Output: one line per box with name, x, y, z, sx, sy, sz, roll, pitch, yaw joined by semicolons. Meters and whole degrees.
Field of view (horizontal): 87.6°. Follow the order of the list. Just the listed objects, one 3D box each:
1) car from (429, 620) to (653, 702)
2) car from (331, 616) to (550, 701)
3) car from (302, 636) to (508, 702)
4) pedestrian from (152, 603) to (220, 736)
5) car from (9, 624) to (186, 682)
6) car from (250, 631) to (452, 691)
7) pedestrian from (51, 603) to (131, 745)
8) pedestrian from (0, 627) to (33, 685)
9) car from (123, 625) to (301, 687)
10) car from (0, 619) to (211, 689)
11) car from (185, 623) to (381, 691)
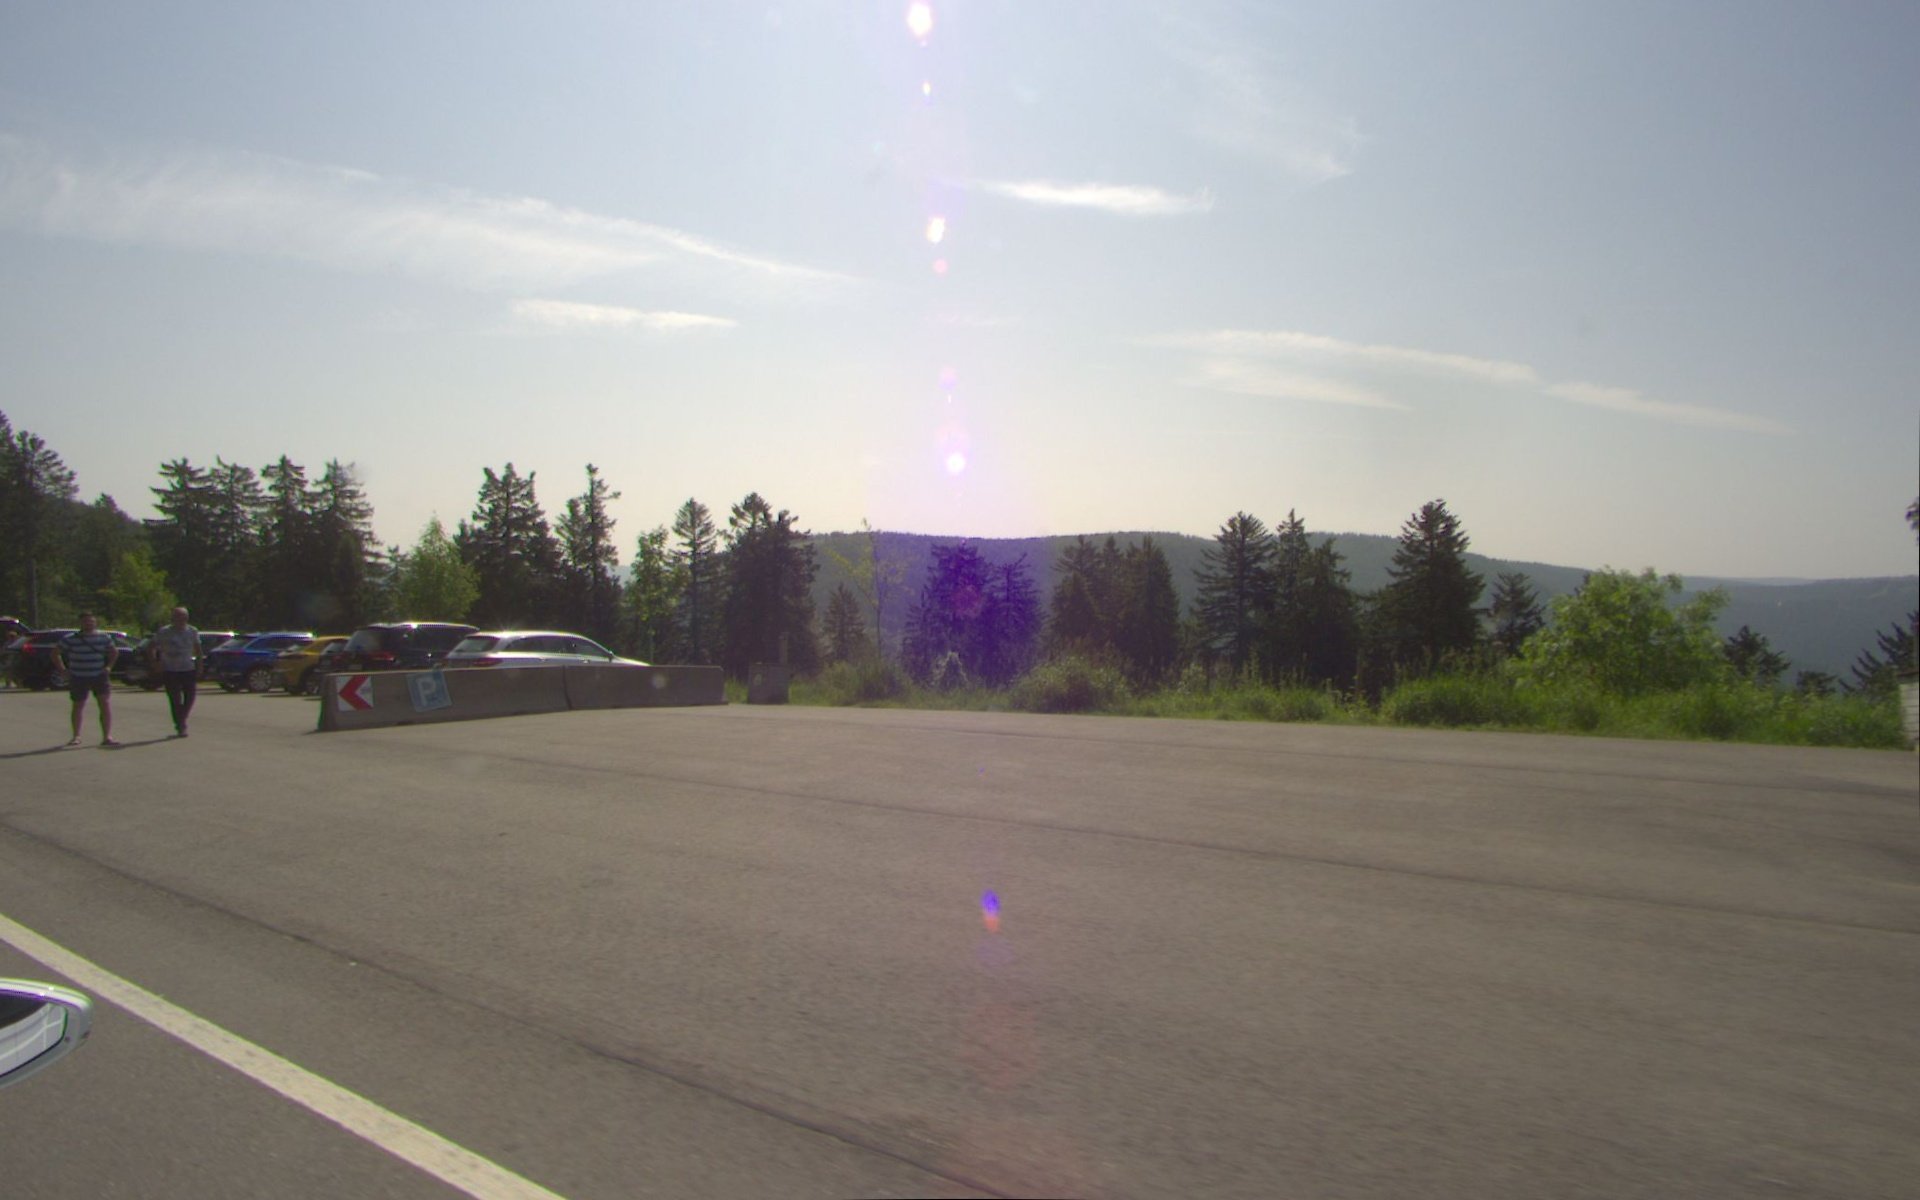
car;-8.477;1.228;20.601;1.747;1.494;3.983;0;-3;31
car;-11.156;1.261;21.785;1.576;1.667;3.984;-1;-3;30
car;-13.288;1.652;24.215;1.739;1.454;3.992;-1;-4;32
pedestrian;-10.746;0.931;13.892;0.660;1.764;0.886;-1;0;-43
car;-26.695;1.638;31.126;1.628;1.681;3.815;-1;-3;29
car;-15.470;1.495;25.625;1.959;1.370;3.978;-1;-1;33
pedestrian;-11.351;0.935;13.081;0.748;1.783;0.768;-1;1;-43
pedestrian;-27.062;1.589;28.704;0.611;1.609;0.730;-1;2;-37
car;-21.060;1.528;28.356;1.575;1.587;3.750;-1;-1;28
car;-24.457;1.468;28.827;1.864;1.817;4.257;1;0;31
car;-18.138;1.466;27.007;1.779;1.556;3.982;3;1;30
